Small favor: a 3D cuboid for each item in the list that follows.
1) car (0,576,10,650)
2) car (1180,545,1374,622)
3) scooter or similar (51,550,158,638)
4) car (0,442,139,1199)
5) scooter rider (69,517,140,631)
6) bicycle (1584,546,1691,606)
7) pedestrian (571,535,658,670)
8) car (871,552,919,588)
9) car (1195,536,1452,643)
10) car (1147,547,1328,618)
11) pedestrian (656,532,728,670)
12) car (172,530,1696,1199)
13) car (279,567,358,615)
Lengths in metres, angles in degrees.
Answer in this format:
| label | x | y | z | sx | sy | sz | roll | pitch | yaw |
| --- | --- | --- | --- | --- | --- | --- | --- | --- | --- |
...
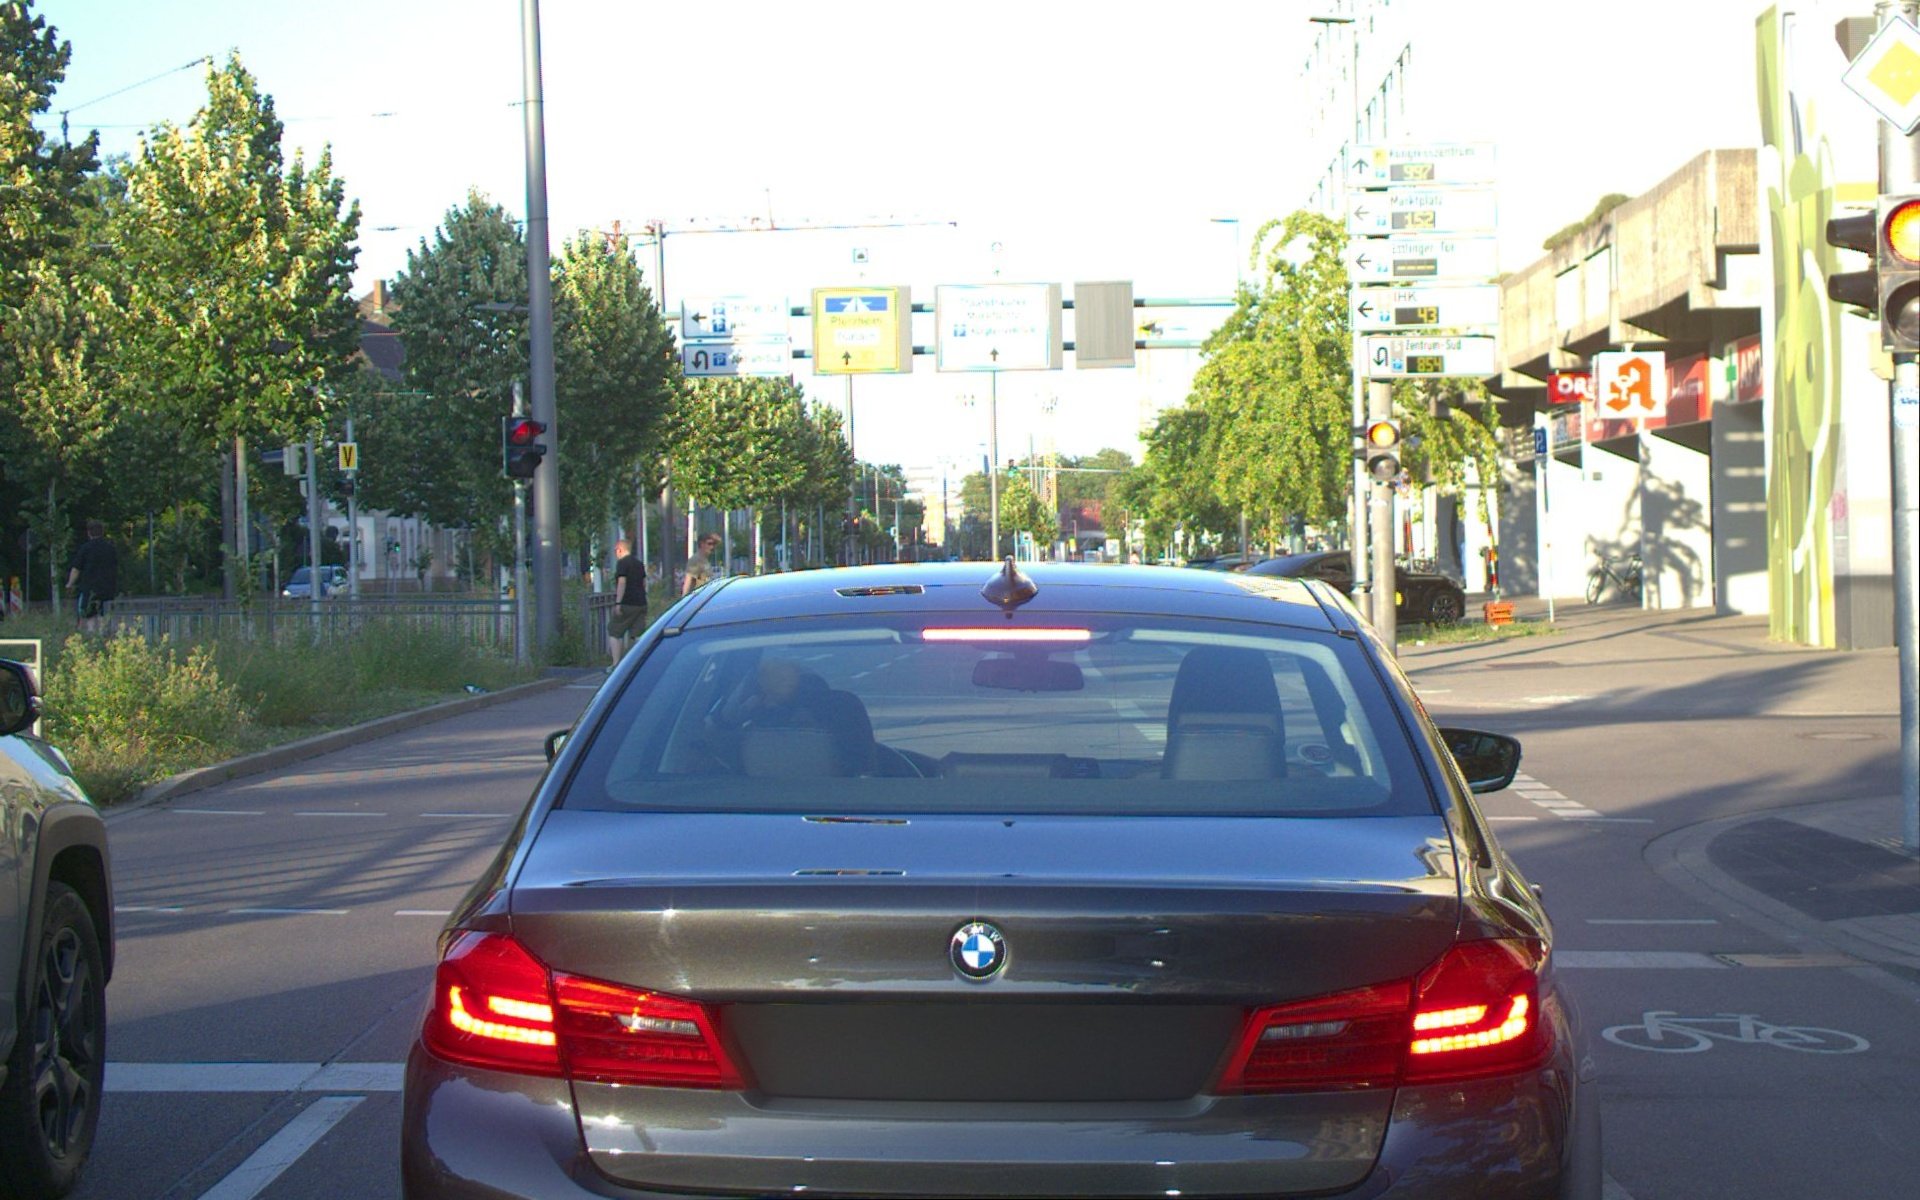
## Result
| label | x | y | z | sx | sy | sz | roll | pitch | yaw |
| --- | --- | --- | --- | --- | --- | --- | --- | --- | --- |
| car | -23.611 | 0.367 | 79.631 | 1.993 | 1.738 | 4.751 | 0 | 2 | -1 |
| car | 7.289 | -0.399 | 78.909 | 4.255 | 1.653 | 1.860 | -1 | 2 | -35 |
| scooter or similar | -11.527 | -0.081 | 46.337 | 1.329 | 1.149 | 0.514 | -1 | 1 | -8 |
| car | -2.853 | 0.529 | 6.209 | 1.854 | 1.653 | 4.269 | 0 | 2 | -2 |
| scooter rider | -11.535 | -0.354 | 46.365 | 0.820 | 1.509 | 0.653 | -1 | 1 | -8 |
| bicycle | 13.590 | -0.480 | 68.976 | 2.017 | 1.145 | 0.690 | 2 | 0 | 7 |
| pedestrian | -4.126 | 0.028 | 41.118 | 0.835 | 1.581 | 0.812 | -1 | 1 | 7 |
| car | -2.774 | -1.296 | 146.995 | 1.979 | 1.428 | 4.843 | 0 | 2 | 0 |
| car | 6.018 | -0.206 | 56.683 | 4.256 | 1.653 | 1.860 | -2 | 3 | -42 |
| car | 6.886 | -0.458 | 85.161 | 4.255 | 1.653 | 1.860 | -1 | 2 | -35 |
| pedestrian | -3.380 | 0.005 | 43.443 | 0.835 | 1.706 | 0.648 | -1 | 1 | -1 |
| car | 0.065 | 0.635 | 6.629 | 1.932 | 1.476 | 4.522 | 0 | 2 | 3 |
| car | -20.833 | -0.295 | 111.719 | 1.800 | 1.476 | 3.783 | -1 | 1 | 1 |
